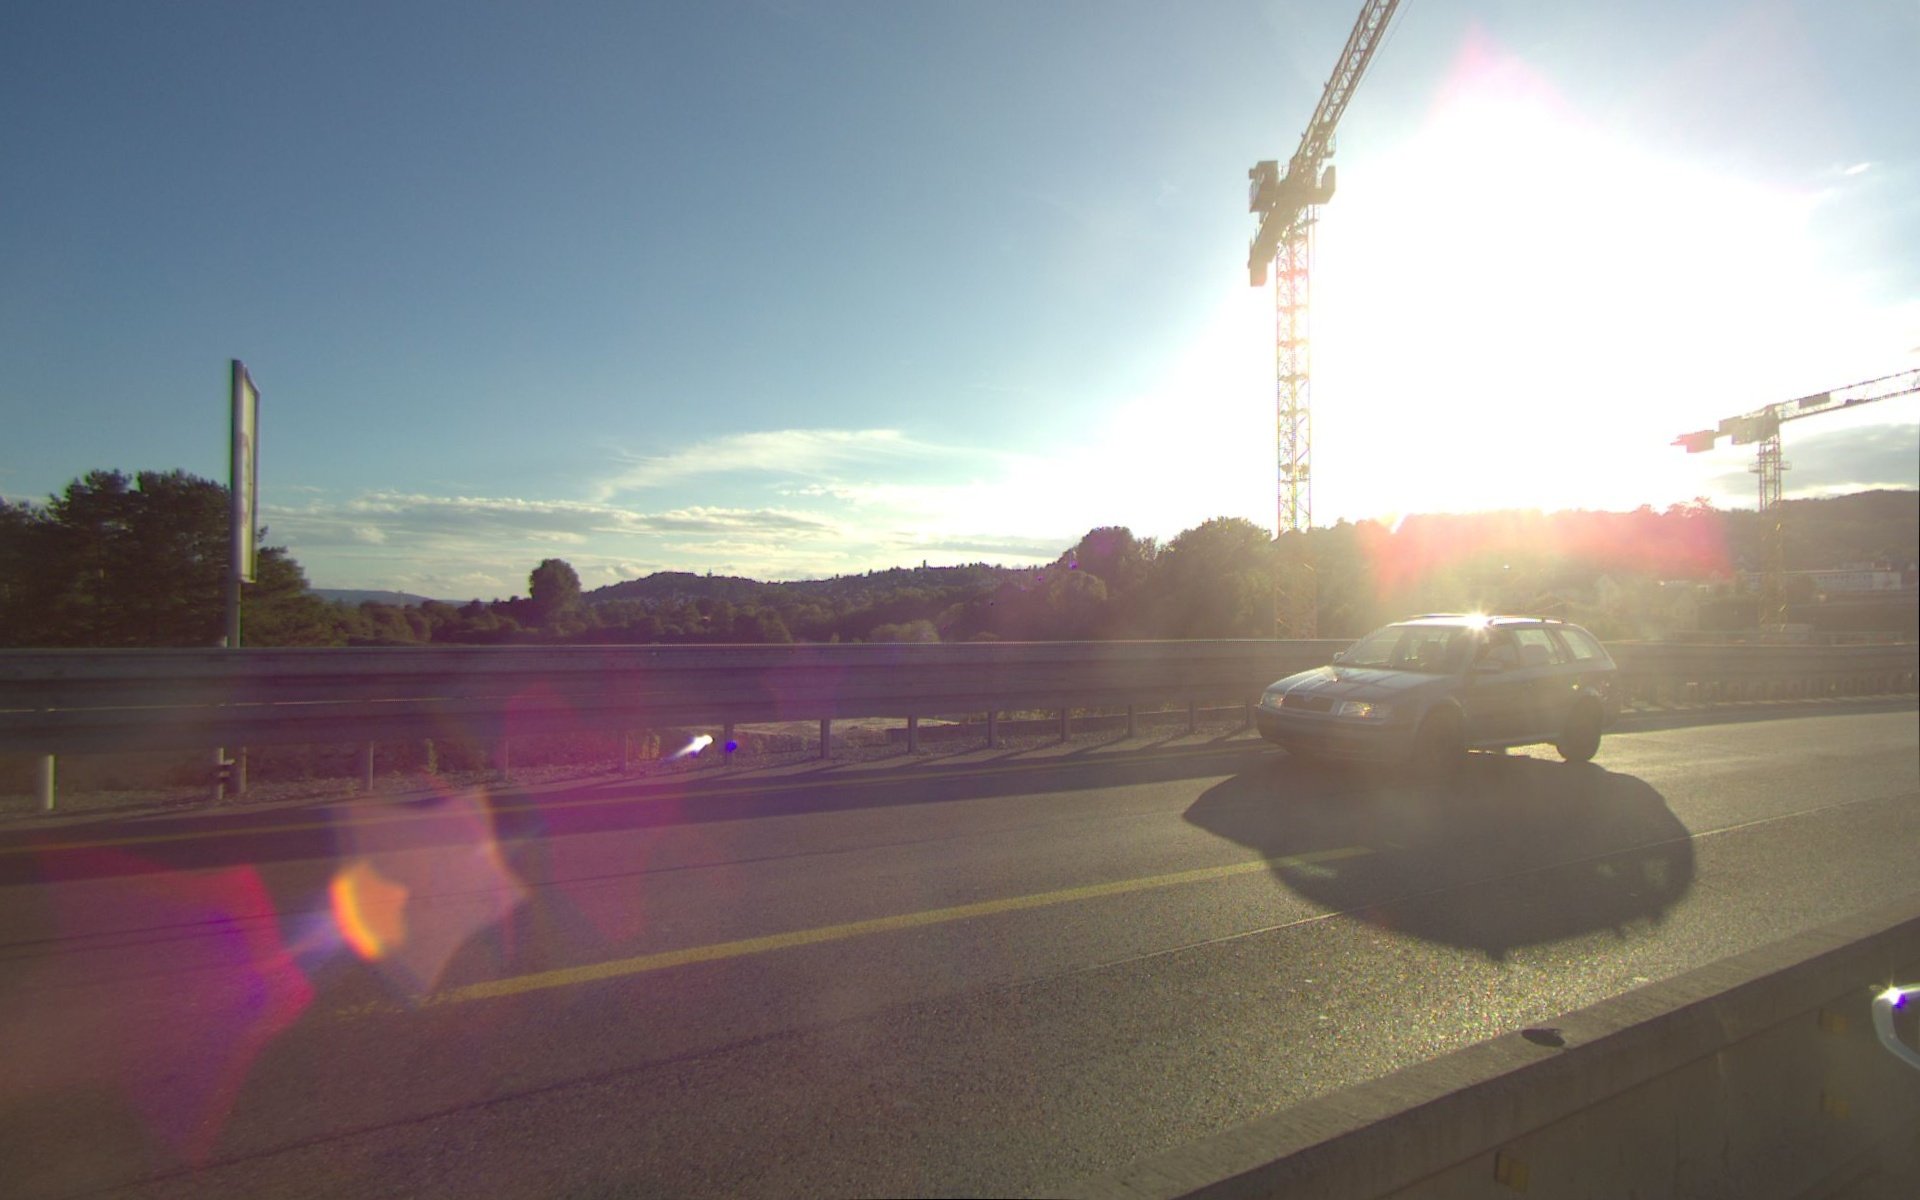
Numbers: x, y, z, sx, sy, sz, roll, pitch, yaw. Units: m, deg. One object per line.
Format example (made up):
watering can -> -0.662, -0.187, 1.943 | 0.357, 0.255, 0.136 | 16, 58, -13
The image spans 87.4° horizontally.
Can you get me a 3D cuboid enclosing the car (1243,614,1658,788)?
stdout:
car -> 5.184, 0.898, 10.432 | 4.525, 1.442, 1.668 | 1, 0, -31
